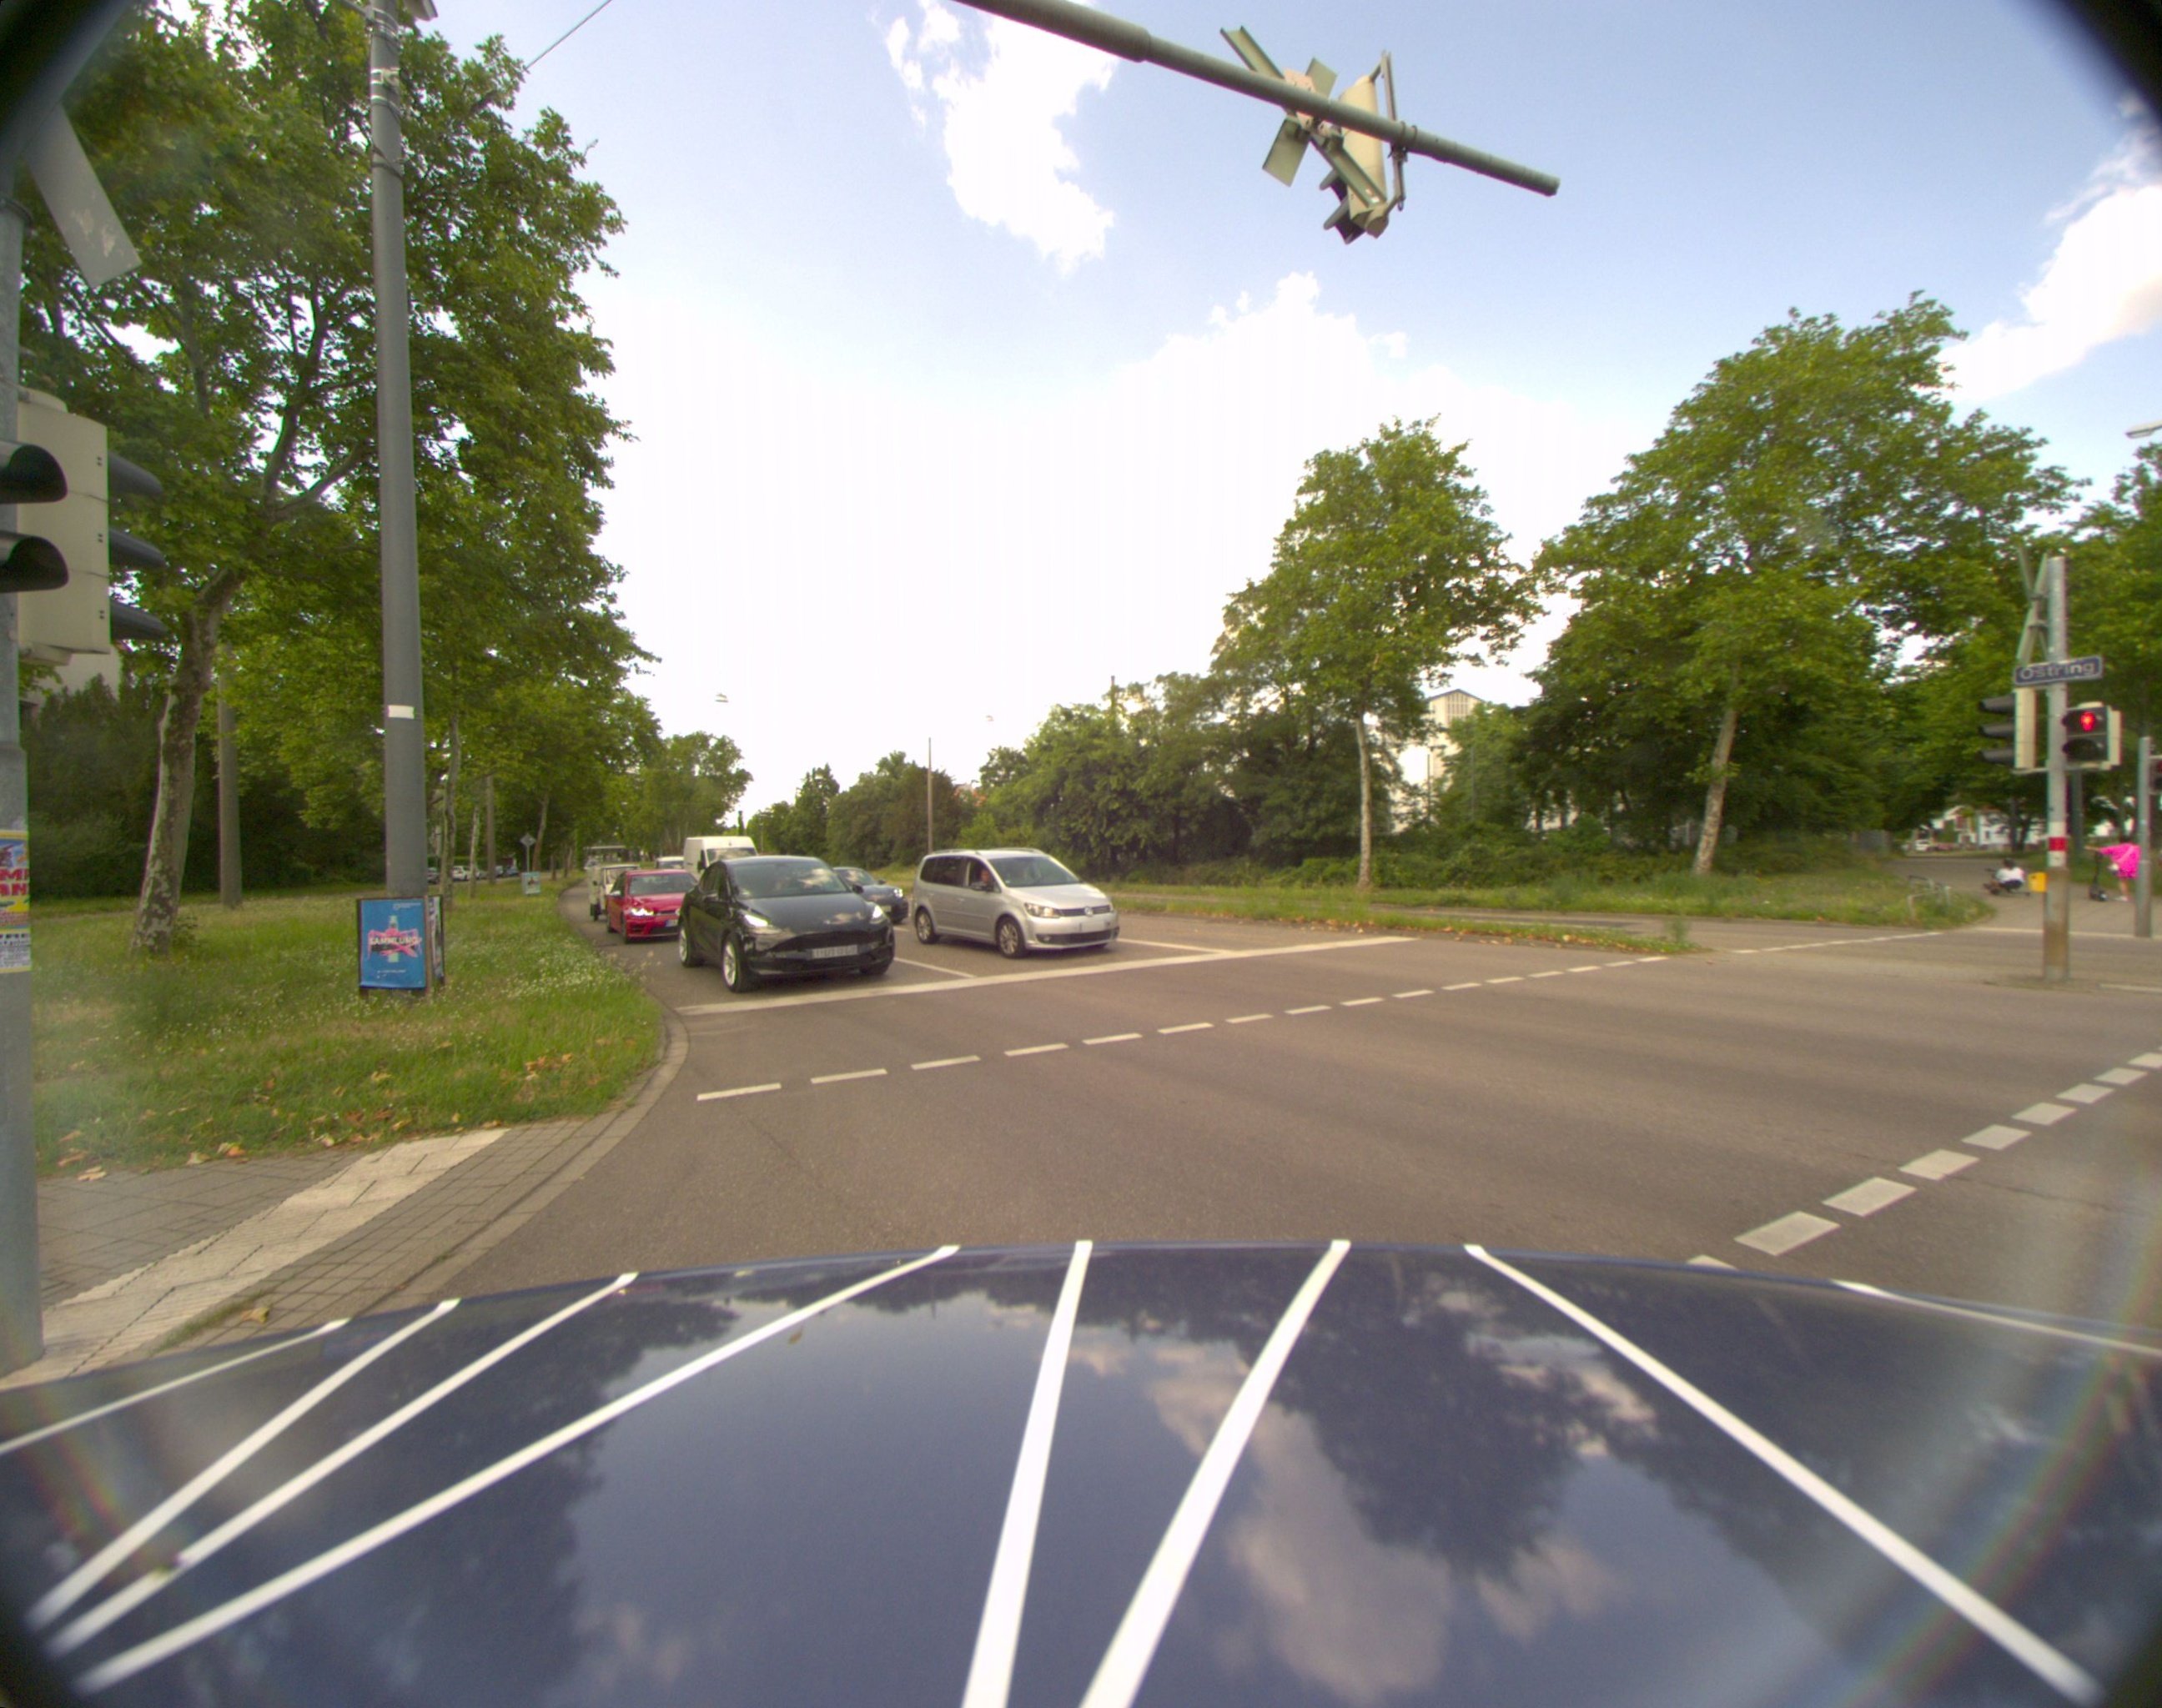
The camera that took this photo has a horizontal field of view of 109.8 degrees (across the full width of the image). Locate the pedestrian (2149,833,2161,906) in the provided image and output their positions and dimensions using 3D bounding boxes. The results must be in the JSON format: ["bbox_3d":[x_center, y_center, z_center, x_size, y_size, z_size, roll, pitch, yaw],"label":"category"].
[{"bbox_3d":[24.441,0.339,16.963,0.611,1.610,0.631,-2,1,-29],"label":"pedestrian"}]

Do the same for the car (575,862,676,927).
[{"bbox_3d":[-13.045,1.051,21.639,1.805,1.561,4.489,-3,2,-38],"label":"car"}]

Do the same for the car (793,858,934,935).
[{"bbox_3d":[-5.210,0.894,17.833,1.807,1.499,3.989,-4,2,-37],"label":"car"}]

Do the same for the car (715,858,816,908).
[{"bbox_3d":[-10.082,0.851,24.086,1.768,1.367,4.331,-3,2,-38],"label":"car"}]

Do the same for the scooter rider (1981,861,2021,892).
[{"bbox_3d":[22.868,0.559,18.893,0.861,0.724,0.610,-1,-1,-40],"label":"scooter rider"}]

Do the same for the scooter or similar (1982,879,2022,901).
[{"bbox_3d":[22.883,0.886,18.889,0.859,0.508,0.610,-1,-1,-41],"label":"scooter or similar"}]

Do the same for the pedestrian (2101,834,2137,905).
[{"bbox_3d":[23.964,0.348,17.542,0.597,1.610,0.420,-2,1,-29],"label":"pedestrian"}]

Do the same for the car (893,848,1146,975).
[{"bbox_3d":[-1.208,0.775,12.555,1.934,1.643,4.489,-3,2,-38],"label":"car"}]

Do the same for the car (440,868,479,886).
[{"bbox_3d":[-57.630,2.159,70.512,1.778,1.586,3.650,-2,-1,-22],"label":"car"}]

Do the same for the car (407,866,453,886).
[{"bbox_3d":[-53.480,1.831,62.529,1.778,1.586,3.650,-2,-1,-22],"label":"car"}]

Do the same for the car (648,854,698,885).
[{"bbox_3d":[-23.512,0.856,43.718,1.768,1.637,4.331,-1,1,-39],"label":"car"}]

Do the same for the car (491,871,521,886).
[{"bbox_3d":[-63.978,2.703,84.568,1.778,1.586,3.650,-2,-1,-22],"label":"car"}]

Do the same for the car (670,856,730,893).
[{"bbox_3d":[-18.689,0.948,37.179,1.847,1.609,4.145,-3,1,-37],"label":"car"}]

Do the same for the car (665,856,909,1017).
[{"bbox_3d":[-4.274,0.890,10.535,1.935,1.643,4.567,-3,2,-37],"label":"car"}]

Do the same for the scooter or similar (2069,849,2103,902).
[{"bbox_3d":[23.854,0.497,18.032,0.777,1.224,0.321,-2,-1,-27],"label":"scooter or similar"}]

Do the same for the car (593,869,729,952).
[{"bbox_3d":[-9.203,1.097,16.460,1.805,1.383,4.489,-3,2,-38],"label":"car"}]

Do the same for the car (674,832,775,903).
[{"bbox_3d":[-14.365,0.479,30.389,2.231,2.516,5.917,-3,2,-38],"label":"car"}]
